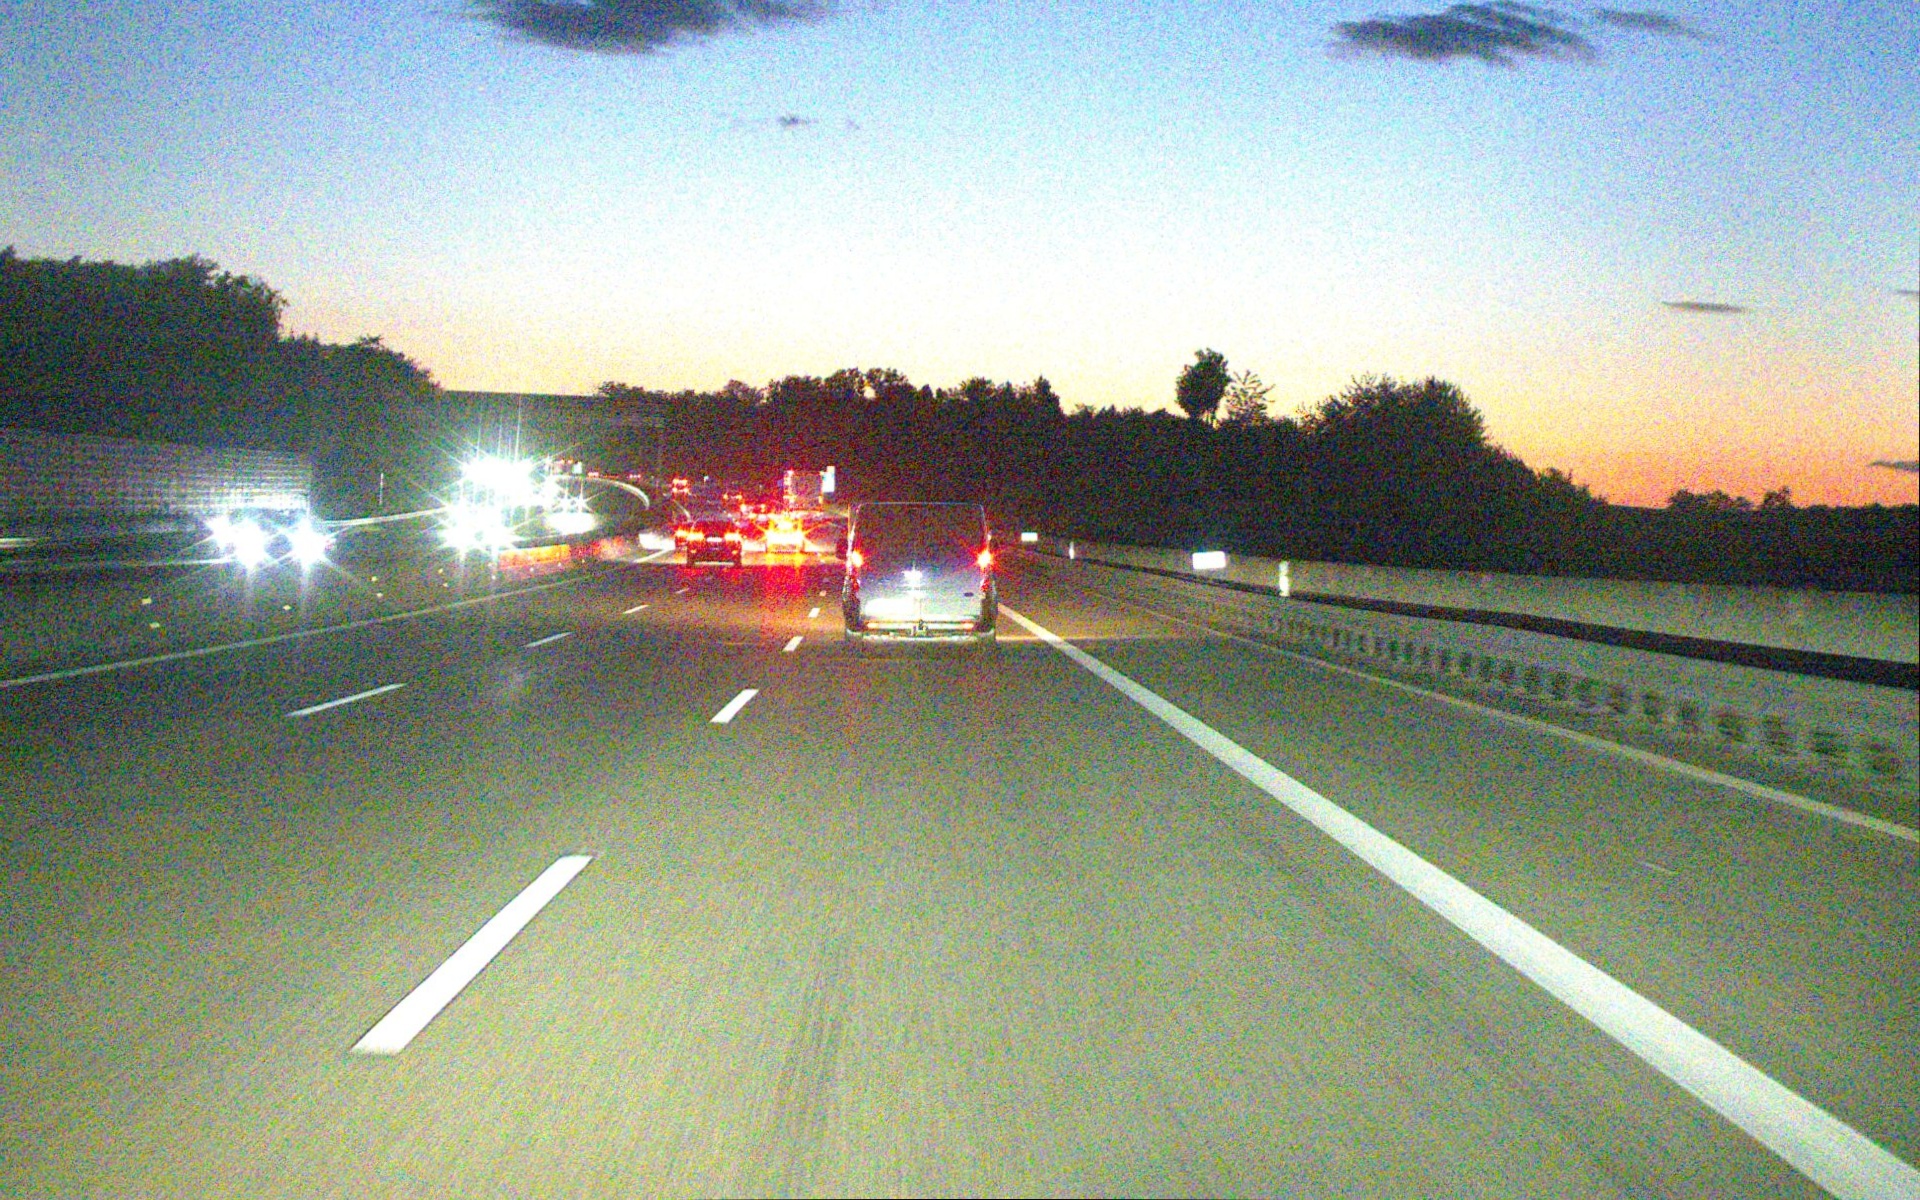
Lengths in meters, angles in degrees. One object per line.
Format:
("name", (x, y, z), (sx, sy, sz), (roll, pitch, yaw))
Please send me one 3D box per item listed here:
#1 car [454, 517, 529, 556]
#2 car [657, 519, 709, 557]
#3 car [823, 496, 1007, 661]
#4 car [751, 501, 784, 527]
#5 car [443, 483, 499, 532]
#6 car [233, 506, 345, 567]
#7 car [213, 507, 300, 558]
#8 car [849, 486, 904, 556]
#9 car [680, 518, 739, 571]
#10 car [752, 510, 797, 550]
("car", (-19.770, -2.684, 145.349), (2.559, 1.550, 5.109), (1, 1, -1))
("car", (-12.732, -2.857, 158.017), (2.171, 1.662, 4.887), (1, 1, -2))
("car", (-0.677, -0.351, 46.050), (2.115, 1.994, 5.665), (1, 2, -4))
("car", (-13.523, -6.071, 242.116), (1.993, 1.788, 4.000), (1, 1, 1))
("car", (-31.999, -6.092, 225.347), (2.651, 3.074, 8.216), (1, 2, -1))
("car", (-17.985, -1.716, 92.362), (2.118, 1.550, 5.109), (1, 1, -1))
("car", (-25.520, -2.461, 124.839), (2.053, 1.775, 5.942), (1, 1, -1))
("car", (-3.312, -3.177, 136.850), (2.032, 2.637, 5.725), (1, 2, 0))
("car", (-8.832, -1.956, 121.259), (1.993, 1.809, 4.001), (1, 1, -3))
("car", (-8.589, -3.244, 159.480), (1.993, 1.788, 4.000), (1, 1, -2))
